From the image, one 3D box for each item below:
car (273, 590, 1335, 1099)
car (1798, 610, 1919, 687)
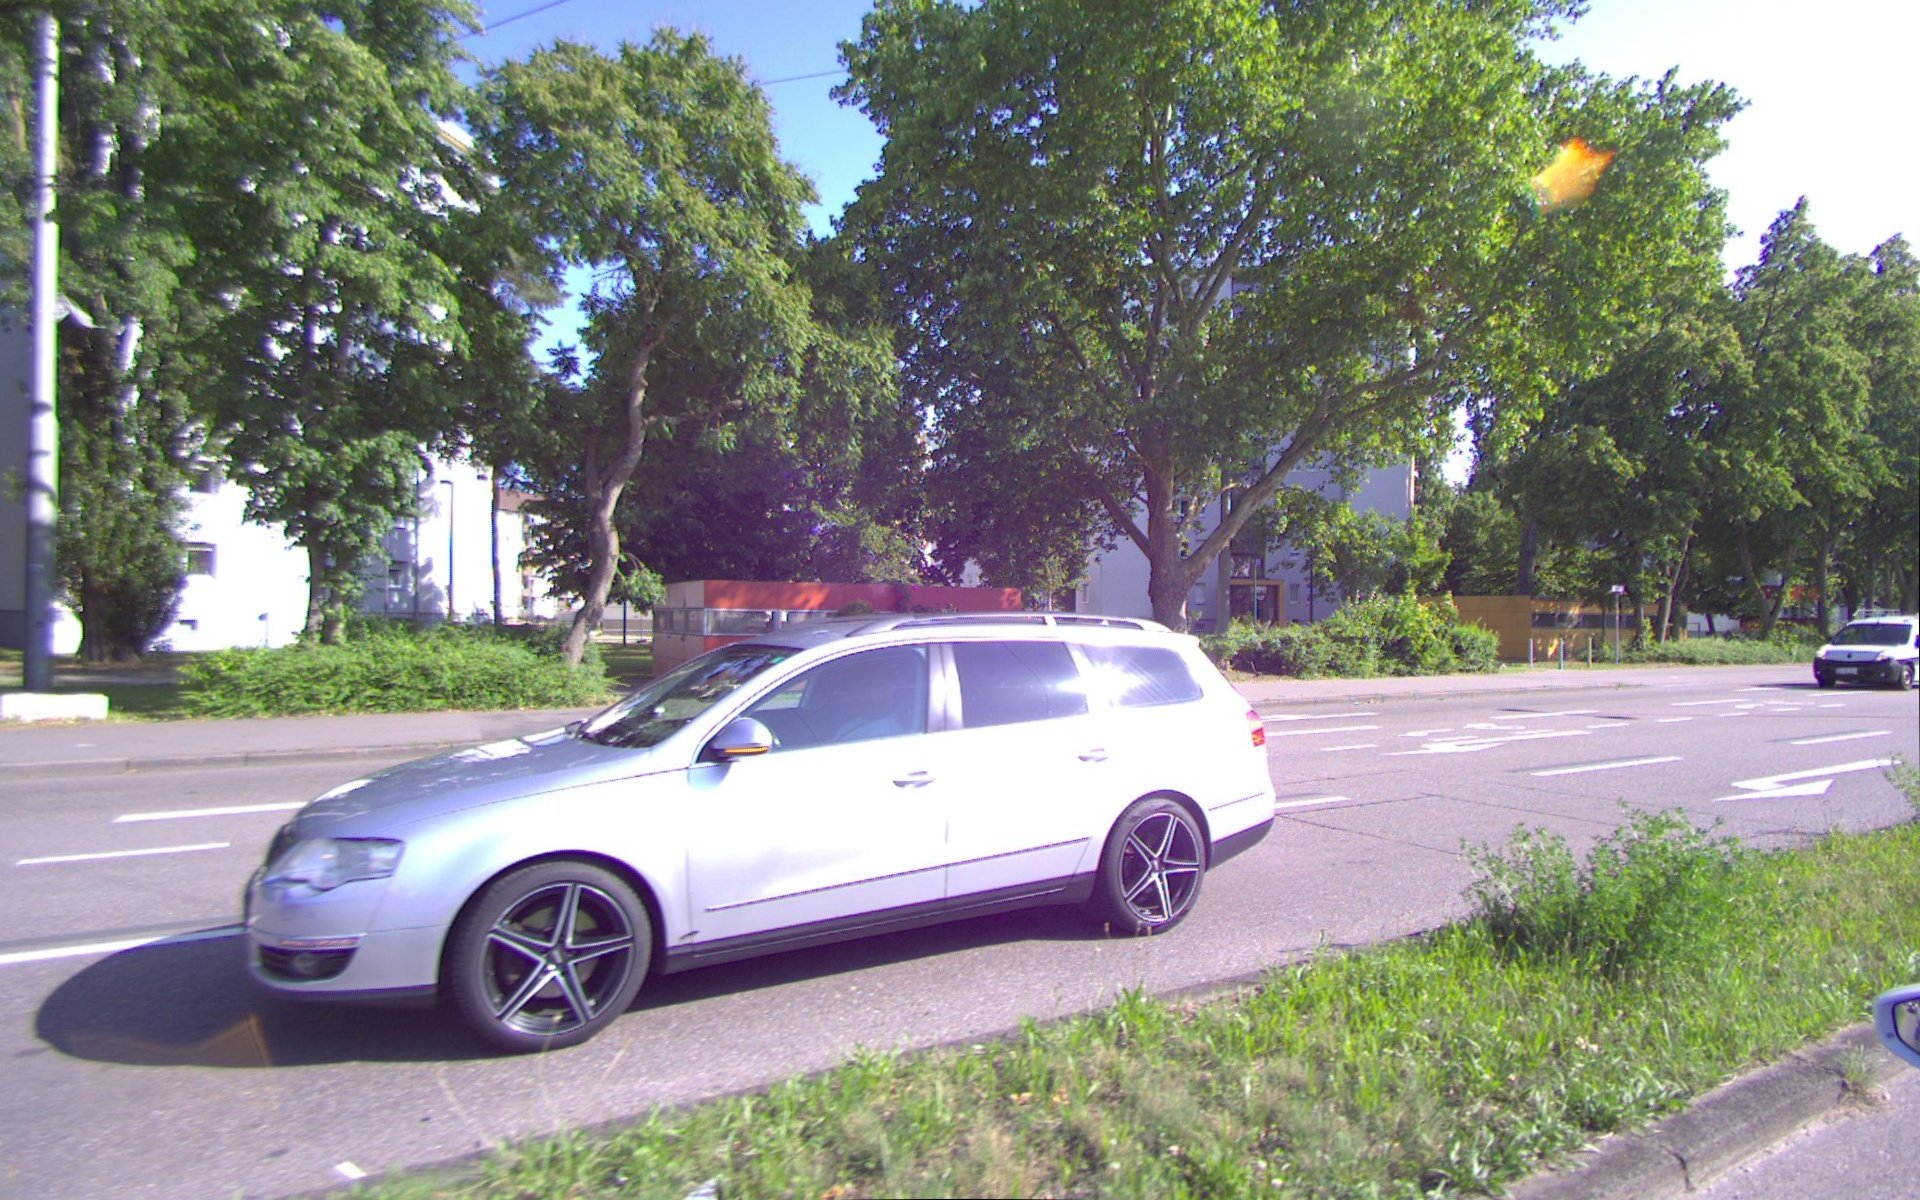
[{"bbox_3d":[-0.477,0.783,4.926,4.590,1.497,1.840,1,-2,-30],"label":"car"},{"bbox_3d":[23.482,1.190,25.422,4.508,1.796,1.783,1,-1,-26],"label":"car"}]
